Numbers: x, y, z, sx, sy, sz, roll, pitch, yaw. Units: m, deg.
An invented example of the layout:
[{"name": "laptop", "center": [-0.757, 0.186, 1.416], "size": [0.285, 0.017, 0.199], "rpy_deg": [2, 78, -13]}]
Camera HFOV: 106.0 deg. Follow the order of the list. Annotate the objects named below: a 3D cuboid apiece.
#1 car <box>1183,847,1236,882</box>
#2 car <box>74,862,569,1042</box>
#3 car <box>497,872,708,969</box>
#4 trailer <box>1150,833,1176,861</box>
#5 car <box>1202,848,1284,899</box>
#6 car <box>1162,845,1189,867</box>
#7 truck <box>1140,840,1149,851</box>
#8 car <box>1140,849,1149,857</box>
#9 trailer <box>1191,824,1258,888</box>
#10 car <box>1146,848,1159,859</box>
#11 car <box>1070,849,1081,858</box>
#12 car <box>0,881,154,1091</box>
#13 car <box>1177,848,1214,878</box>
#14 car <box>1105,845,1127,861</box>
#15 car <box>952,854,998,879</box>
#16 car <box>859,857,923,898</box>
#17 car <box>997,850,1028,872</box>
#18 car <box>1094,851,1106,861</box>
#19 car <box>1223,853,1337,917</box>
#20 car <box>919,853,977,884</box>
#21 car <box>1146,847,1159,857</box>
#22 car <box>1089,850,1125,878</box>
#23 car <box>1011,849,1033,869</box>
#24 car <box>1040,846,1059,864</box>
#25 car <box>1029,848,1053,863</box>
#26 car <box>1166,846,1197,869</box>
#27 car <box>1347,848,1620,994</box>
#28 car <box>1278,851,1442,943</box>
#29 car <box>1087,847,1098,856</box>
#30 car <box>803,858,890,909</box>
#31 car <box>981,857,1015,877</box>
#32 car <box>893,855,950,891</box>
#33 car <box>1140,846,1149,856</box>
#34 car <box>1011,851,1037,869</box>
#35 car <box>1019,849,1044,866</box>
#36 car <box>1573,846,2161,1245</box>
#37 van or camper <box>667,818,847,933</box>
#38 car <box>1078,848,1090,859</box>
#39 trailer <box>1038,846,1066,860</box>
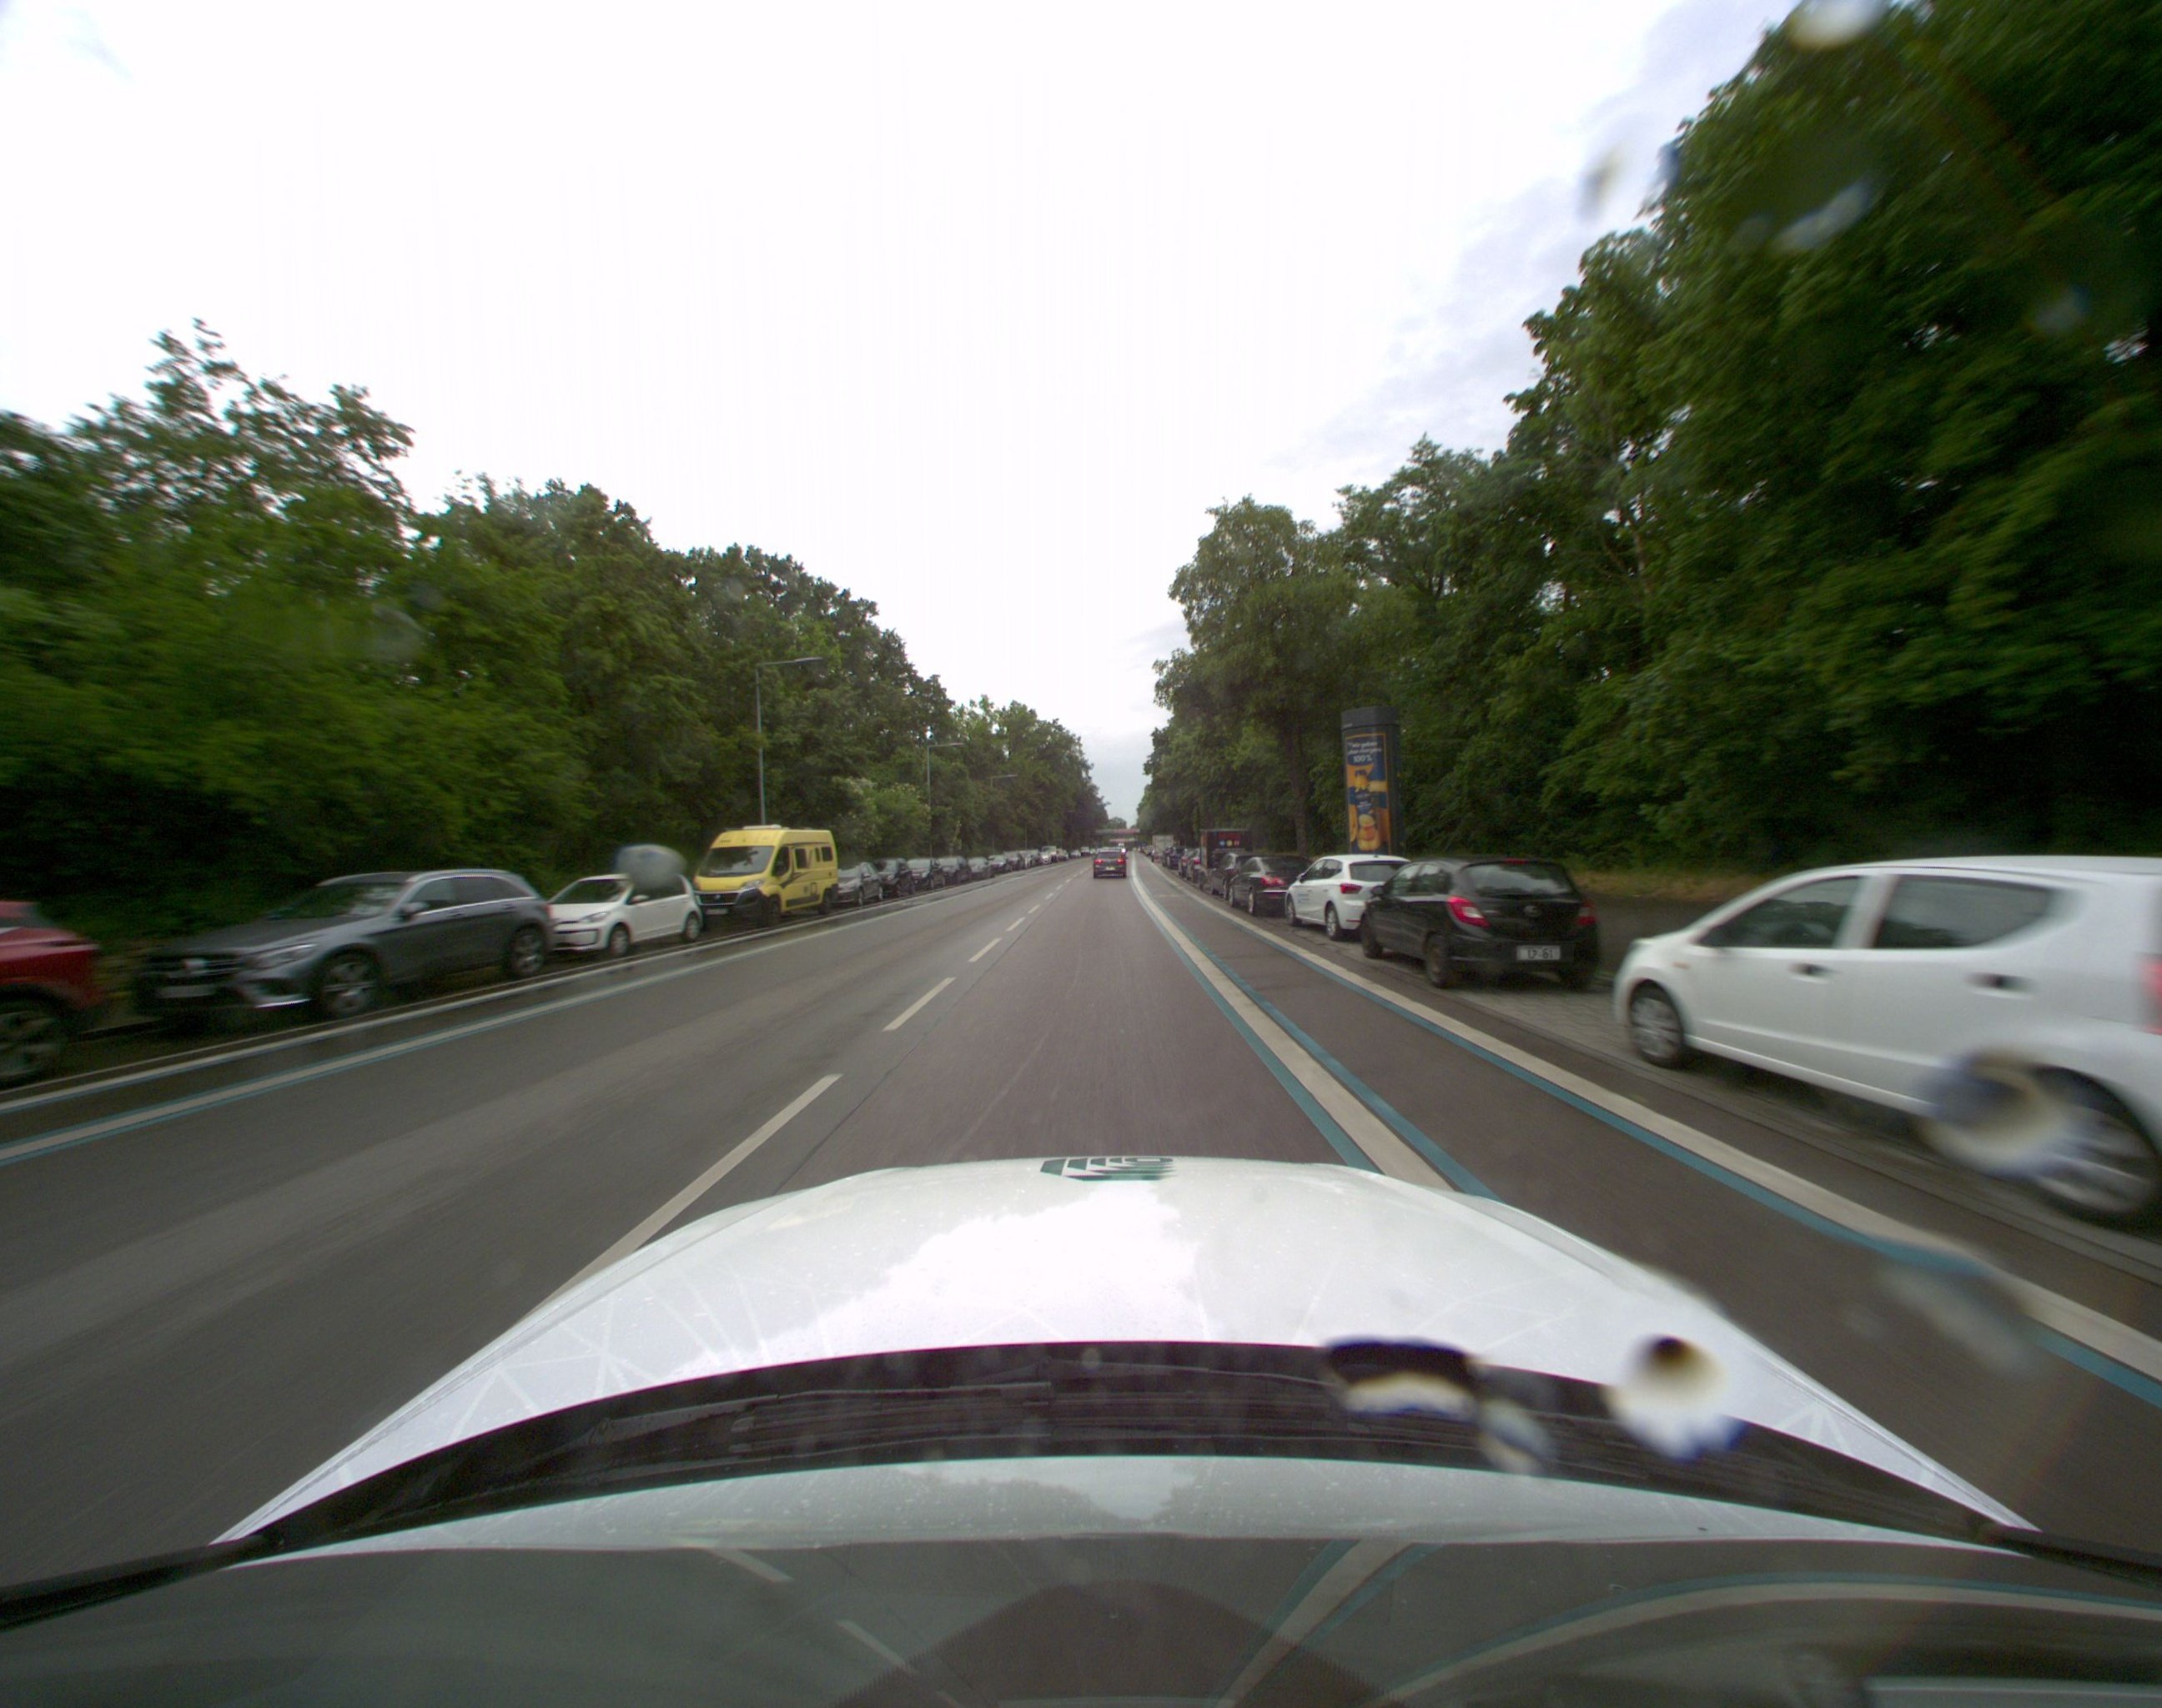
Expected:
[{"name": "car", "center": [5.697, 0.426, 36.571], "size": [1.788, 1.450, 4.431], "rpy_deg": [-2, 0, 2]}, {"name": "car", "center": [-9.204, 1.024, 10.616], "size": [1.986, 1.700, 4.617], "rpy_deg": [-2, 0, 1]}, {"name": "car", "center": [-8.850, 1.152, 15.461], "size": [1.610, 1.448, 3.660], "rpy_deg": [-3, 0, 3]}, {"name": "trailer", "center": [7.790, -0.693, 77.725], "size": [2.124, 2.560, 4.298], "rpy_deg": [-1, 0, 1]}, {"name": "car", "center": [5.109, 0.563, 26.192], "size": [1.816, 1.485, 4.199], "rpy_deg": [0, 0, 0]}, {"name": "car", "center": [7.013, 0.132, 60.741], "size": [1.706, 1.512, 3.978], "rpy_deg": [-1, 0, 2]}, {"name": "truck", "center": [15.681, -2.144, 200.820], "size": [2.103, 2.599, 4.305], "rpy_deg": [-2, 0, 4]}, {"name": "car", "center": [14.968, -0.299, 193.181], "size": [1.985, 1.772, 4.004], "rpy_deg": [-3, 0, 4]}, {"name": "trailer", "center": [5.384, 0.047, 31.184], "size": [1.898, 2.247, 4.771], "rpy_deg": [-1, 0, 2]}, {"name": "car", "center": [11.484, -0.095, 130.757], "size": [1.889, 1.606, 4.004], "rpy_deg": [-1, 0, 4]}, {"name": "car", "center": [-1.004, -0.087, 141.367], "size": [1.666, 1.513, 3.633], "rpy_deg": [-1, 1, 3]}, {"name": "car", "center": [-9.570, 1.104, 5.223], "size": [1.911, 1.617, 4.494], "rpy_deg": [-2, 0, 3]}, {"name": "car", "center": [5.865, 0.410, 42.194], "size": [1.608, 1.470, 4.004], "rpy_deg": [0, 0, 4]}, {"name": "car", "center": [3.173, -0.121, 74.410], "size": [1.875, 1.466, 4.000], "rpy_deg": [0, 0, 0]}, {"name": "car", "center": [-6.109, 0.722, 47.528], "size": [1.862, 1.304, 4.474], "rpy_deg": [-1, 0, 3]}, {"name": "car", "center": [-7.593, 0.908, 32.833], "size": [1.595, 1.510, 3.142], "rpy_deg": [-2, 0, 4]}, {"name": "car", "center": [-5.294, 0.486, 63.388], "size": [1.688, 1.584, 4.143], "rpy_deg": [-2, 0, 4]}, {"name": "car", "center": [3.048, 0.322, 128.517], "size": [1.691, 1.484, 4.039], "rpy_deg": [-3, 0, 3]}, {"name": "car", "center": [4.771, 0.675, 20.164], "size": [1.746, 1.393, 4.445], "rpy_deg": [0, 0, 0]}, {"name": "car", "center": [-6.928, 0.717, 42.839], "size": [1.984, 1.452, 4.144], "rpy_deg": [-2, 0, 4]}, {"name": "car", "center": [11.104, -0.329, 126.150], "size": [1.889, 1.606, 4.004], "rpy_deg": [-1, 0, 4]}, {"name": "car", "center": [1.370, 0.548, 43.405], "size": [1.864, 1.441, 4.297], "rpy_deg": [0, -1, 1]}, {"name": "car", "center": [-4.916, 0.414, 67.891], "size": [1.455, 1.571, 2.986], "rpy_deg": [-2, 0, 2]}, {"name": "car", "center": [-3.741, 0.090, 96.414], "size": [1.933, 2.013, 4.740], "rpy_deg": [-1, 0, 1]}, {"name": "car", "center": [-4.155, 0.101, 86.035], "size": [1.985, 1.488, 4.473], "rpy_deg": [-1, 0, 4]}, {"name": "car", "center": [6.719, 0.188, 54.775], "size": [1.675, 1.481, 4.322], "rpy_deg": [-1, 1, 3]}, {"name": "car", "center": [4.741, 0.670, 10.268], "size": [1.652, 1.465, 3.902], "rpy_deg": [1, 0, 2]}, {"name": "car", "center": [4.958, 0.677, 15.047], "size": [1.613, 1.466, 3.998], "rpy_deg": [0, 0, -1]}, {"name": "car", "center": [2.763, -0.513, 190.664], "size": [2.149, 2.013, 5.037], "rpy_deg": [-2, 0, 4]}, {"name": "car", "center": [-7.979, 0.963, 28.127], "size": [1.673, 1.498, 4.149], "rpy_deg": [-3, 0, 1]}, {"name": "car", "center": [-5.877, 0.902, 57.890], "size": [1.688, 1.300, 4.197], "rpy_deg": [-2, 0, 4]}, {"name": "car", "center": [-7.416, 0.861, 38.183], "size": [1.595, 1.510, 3.981], "rpy_deg": [-2, 0, 4]}, {"name": "car", "center": [14.425, -0.671, 185.782], "size": [1.986, 2.013, 4.002], "rpy_deg": [-1, 0, 2]}, {"name": "car", "center": [-5.124, 0.499, 73.437], "size": [1.801, 1.488, 4.471], "rpy_deg": [-1, 0, 2]}, {"name": "car", "center": [-4.835, 0.307, 79.518], "size": [1.871, 1.561, 4.473], "rpy_deg": [-1, 0, 4]}, {"name": "car", "center": [4.749, 0.695, 4.738], "size": [1.554, 1.460, 3.675], "rpy_deg": [-1, 0, 0]}, {"name": "van or camper", "center": [-8.416, 0.483, 21.908], "size": [2.134, 2.627, 5.689], "rpy_deg": [-2, 0, 4]}, {"name": "car", "center": [0.662, -0.156, 166.495], "size": [2.149, 2.013, 5.037], "rpy_deg": [-2, 0, 4]}, {"name": "trailer", "center": [-3.580, -0.081, 101.391], "size": [1.609, 1.628, 3.696], "rpy_deg": [-2, 0, 34]}]
